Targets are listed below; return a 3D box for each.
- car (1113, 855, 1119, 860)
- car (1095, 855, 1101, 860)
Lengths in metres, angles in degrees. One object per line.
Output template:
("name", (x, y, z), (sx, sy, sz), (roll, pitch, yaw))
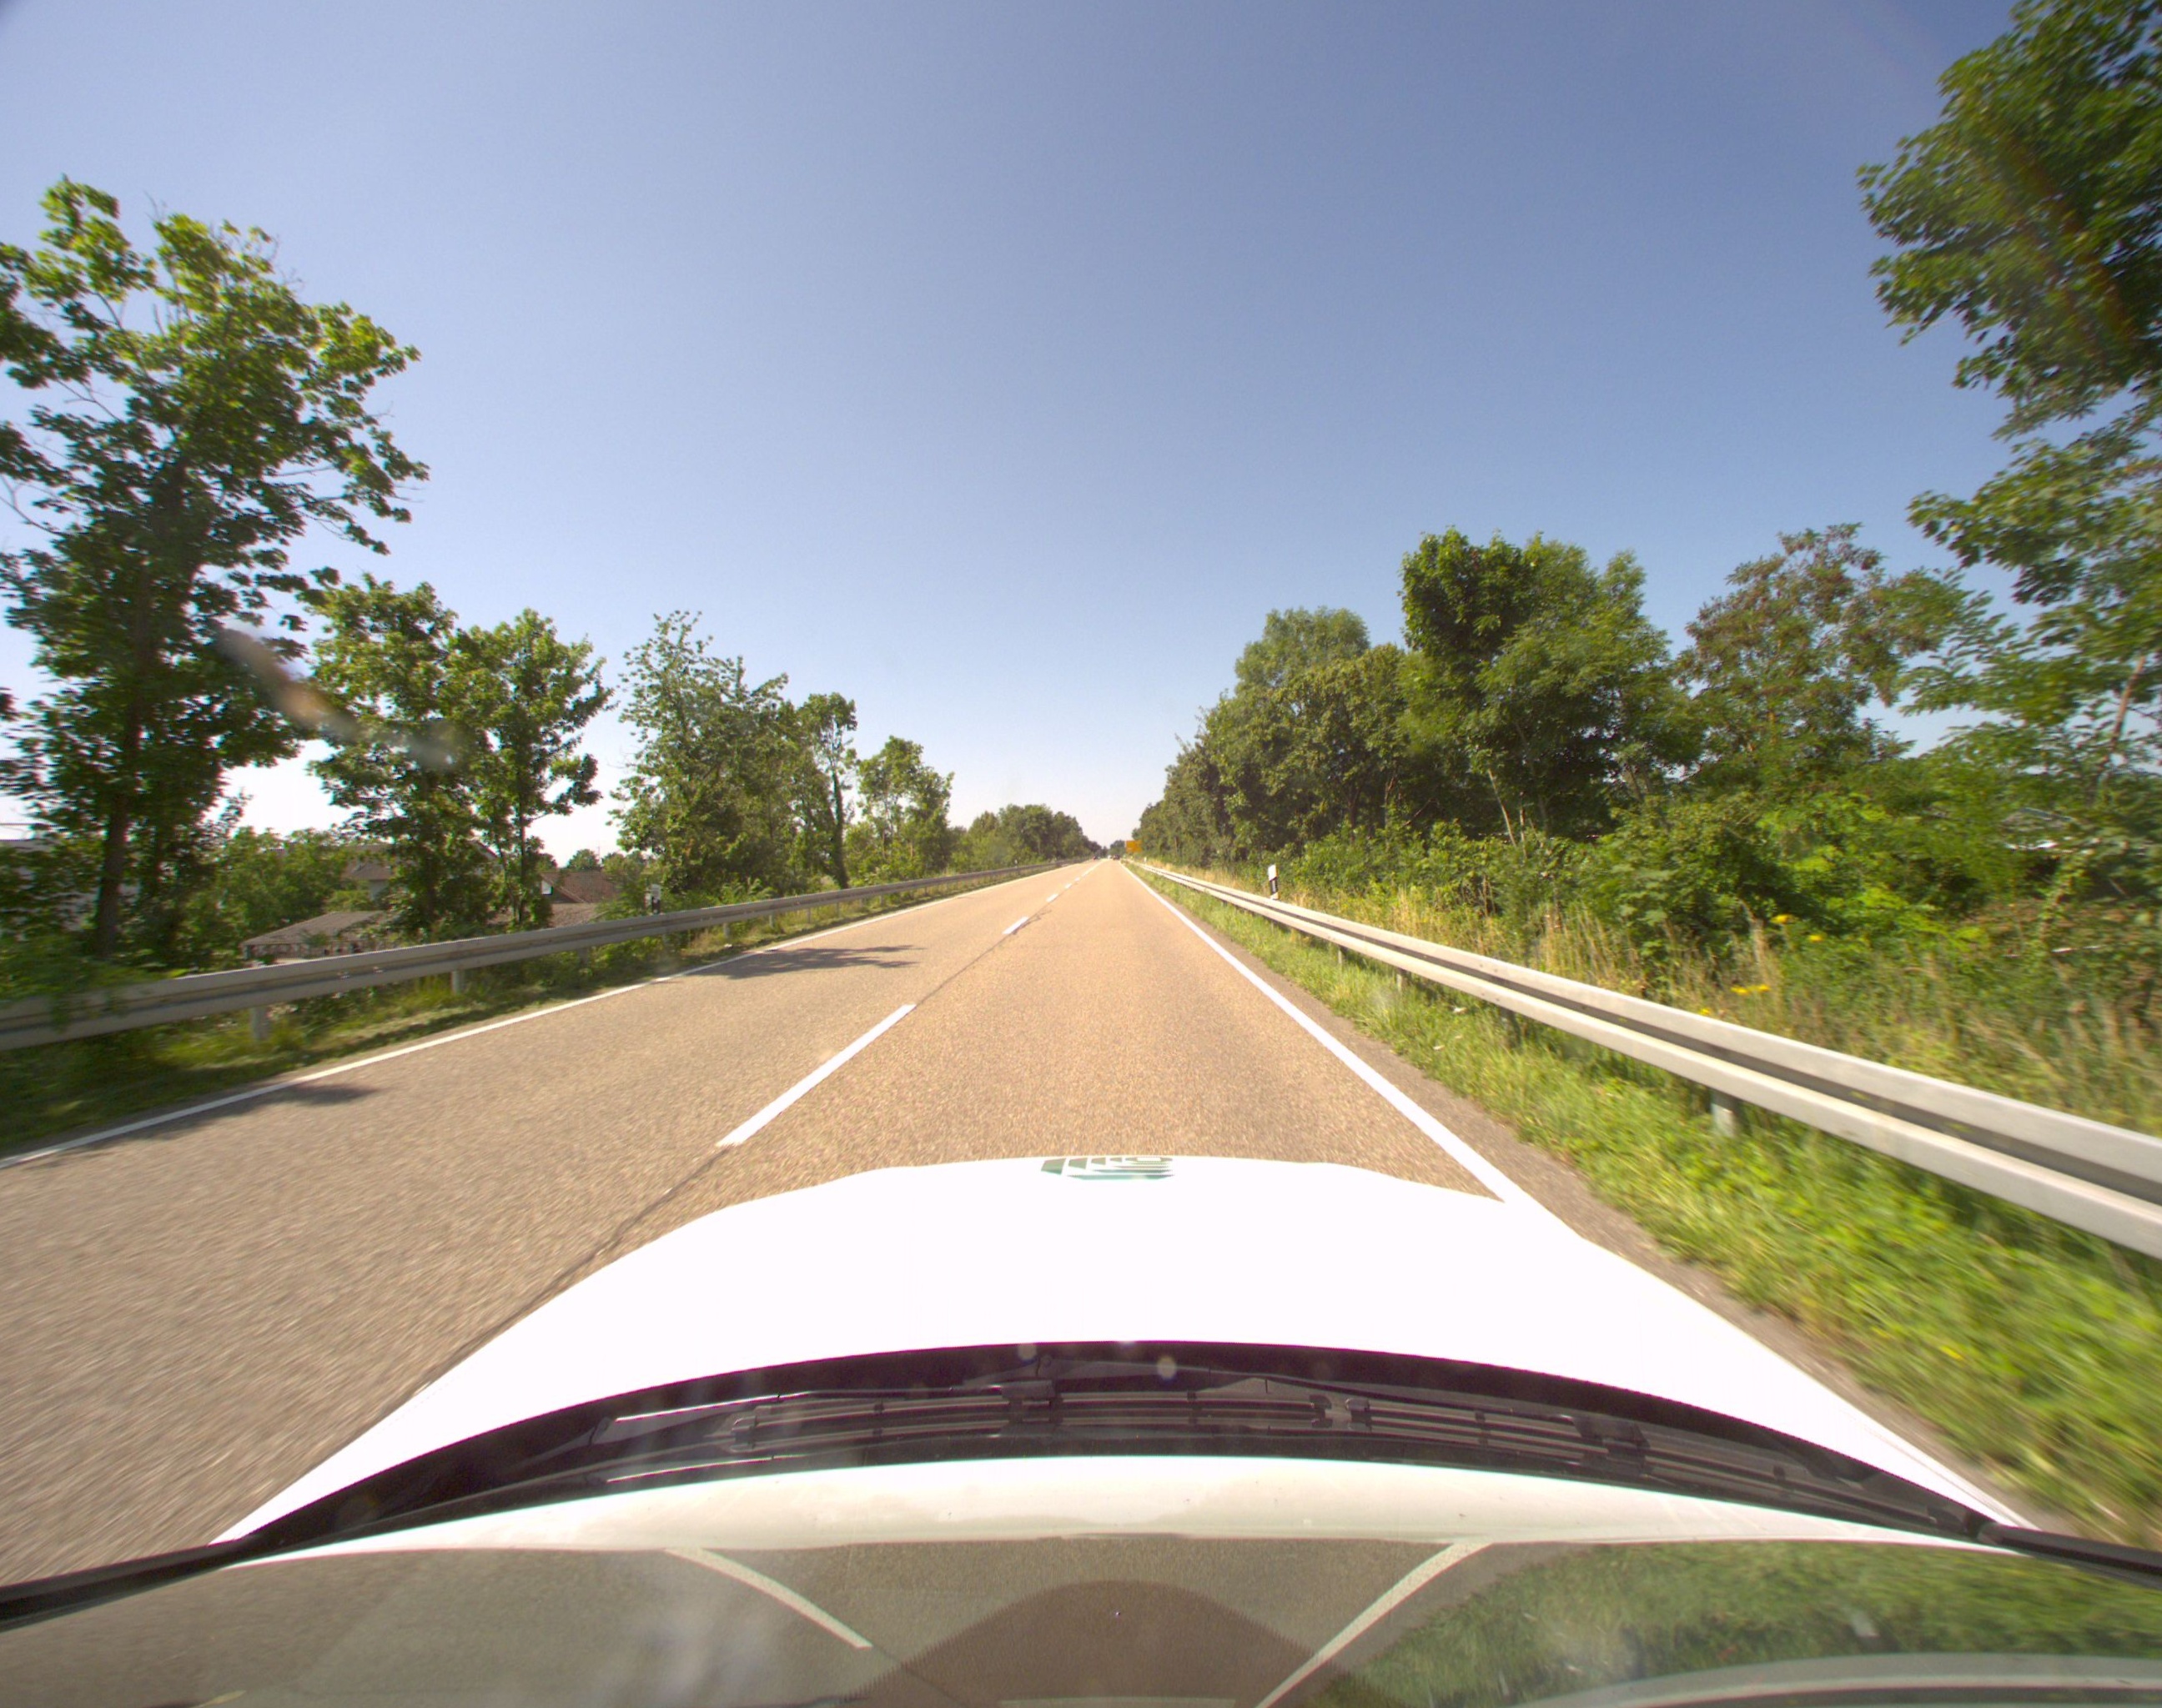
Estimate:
("car", (9.346, 0.925, 217.550), (1.734, 1.470, 3.695), (-1, 0, 3))
("car", (5.106, 1.187, 247.450), (1.739, 1.425, 4.680), (-1, 0, 2))
